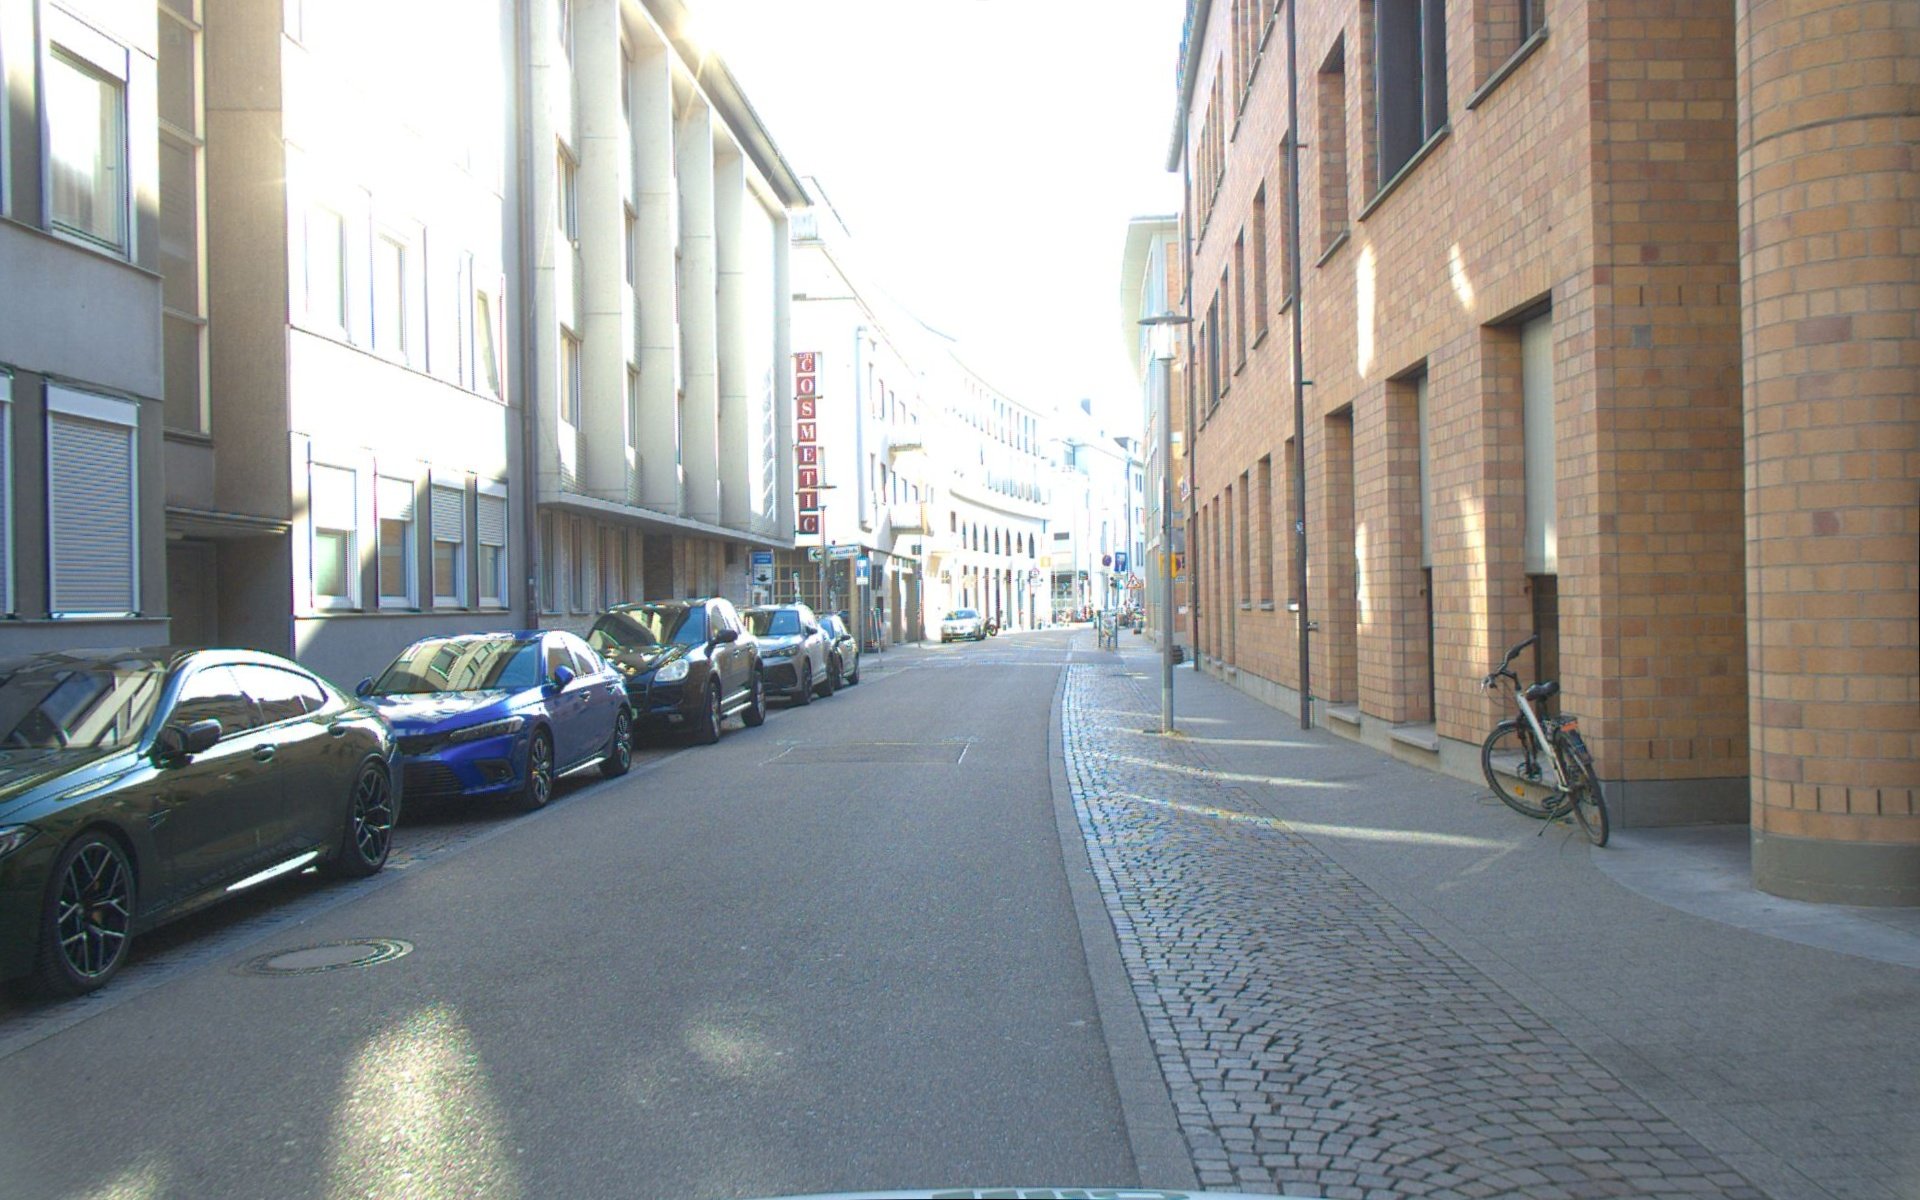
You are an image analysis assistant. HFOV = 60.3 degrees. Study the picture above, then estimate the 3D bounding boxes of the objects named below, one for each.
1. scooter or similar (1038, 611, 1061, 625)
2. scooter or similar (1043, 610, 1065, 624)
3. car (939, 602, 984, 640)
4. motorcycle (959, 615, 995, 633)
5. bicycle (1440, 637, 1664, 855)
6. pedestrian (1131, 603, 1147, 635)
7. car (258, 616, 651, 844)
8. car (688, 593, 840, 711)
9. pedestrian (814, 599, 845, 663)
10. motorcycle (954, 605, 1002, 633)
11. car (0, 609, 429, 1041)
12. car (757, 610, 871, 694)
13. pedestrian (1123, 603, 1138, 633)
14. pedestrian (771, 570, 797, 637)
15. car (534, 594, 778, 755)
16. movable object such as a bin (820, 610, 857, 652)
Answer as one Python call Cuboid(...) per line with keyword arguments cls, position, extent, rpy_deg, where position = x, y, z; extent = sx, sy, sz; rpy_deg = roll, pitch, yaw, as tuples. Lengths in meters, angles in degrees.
Cuboid(cls="scooter or similar", position=(6.285, 1.240, 115.797), extent=(0.516, 0.944, 2.221), rpy_deg=(-1, 0, 34))
Cuboid(cls="scooter or similar", position=(6.748, 1.235, 118.985), extent=(0.516, 0.944, 2.221), rpy_deg=(-1, 0, 34))
Cuboid(cls="car", position=(0.073, 0.928, 73.419), extent=(1.700, 1.634, 3.535), rpy_deg=(0, 0, 5))
Cuboid(cls="motorcycle", position=(0.835, 1.175, 80.830), extent=(1.655, 0.874, 0.595), rpy_deg=(0, -1, 9))
Cuboid(cls="bicycle", position=(3.578, 0.835, 10.187), extent=(0.539, 1.122, 1.981), rpy_deg=(-4, 0, -2))
Cuboid(cls="pedestrian", position=(10.941, 1.156, 100.912), extent=(0.651, 1.901, 0.754), rpy_deg=(1, -1, -26))
Cuboid(cls="car", position=(-4.130, 0.981, 14.333), extent=(1.850, 1.556, 4.341), rpy_deg=(-2, 0, 3))
Cuboid(cls="car", position=(-3.209, 0.809, 27.937), extent=(1.851, 1.772, 4.391), rpy_deg=(-2, 0, 2))
Cuboid(cls="pedestrian", position=(-3.444, 0.812, 43.698), extent=(0.640, 1.654, 0.451), rpy_deg=(-1, 0, -38))
Cuboid(cls="motorcycle", position=(0.918, 0.977, 84.932), extent=(2.340, 1.340, 0.862), rpy_deg=(-3, 0, 4))
Cuboid(cls="car", position=(-4.468, 0.914, 8.320), extent=(1.851, 1.556, 4.730), rpy_deg=(-4, 0, 2))
Cuboid(cls="car", position=(-2.917, 1.011, 33.820), extent=(1.614, 1.486, 4.001), rpy_deg=(-4, 0, 4))
Cuboid(cls="pedestrian", position=(10.943, 1.161, 106.303), extent=(0.651, 1.901, 0.780), rpy_deg=(1, -1, -26))
Cuboid(cls="pedestrian", position=(-4.699, 0.097, 44.190), extent=(0.439, 1.769, 0.552), rpy_deg=(-1, 0, 27))
Cuboid(cls="car", position=(-3.592, 0.811, 20.444), extent=(1.850, 1.705, 4.556), rpy_deg=(-2, 0, 4))
Cuboid(cls="movable object such as a bin", position=(-4.182, 1.058, 56.847), extent=(0.926, 1.445, 0.871), rpy_deg=(1, -1, -43))
